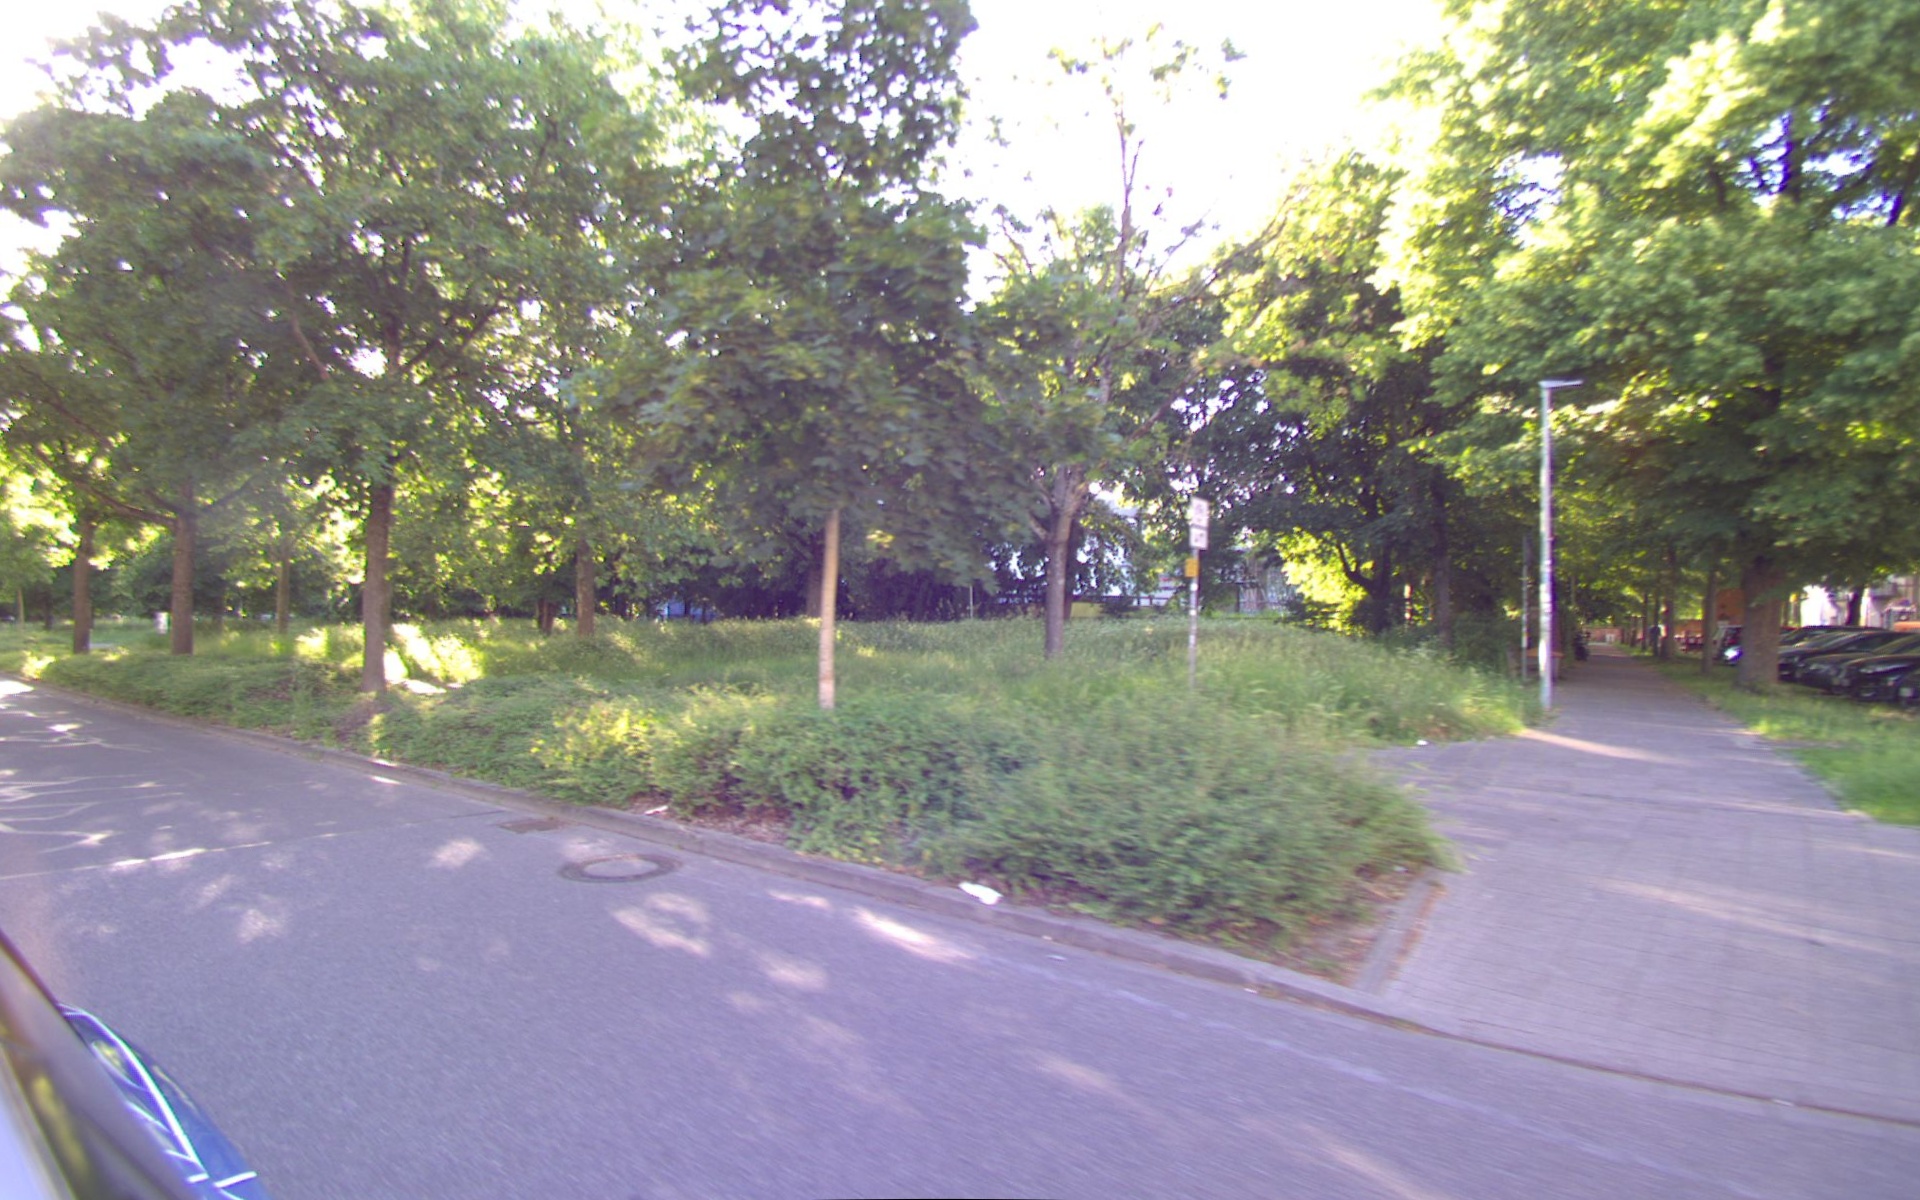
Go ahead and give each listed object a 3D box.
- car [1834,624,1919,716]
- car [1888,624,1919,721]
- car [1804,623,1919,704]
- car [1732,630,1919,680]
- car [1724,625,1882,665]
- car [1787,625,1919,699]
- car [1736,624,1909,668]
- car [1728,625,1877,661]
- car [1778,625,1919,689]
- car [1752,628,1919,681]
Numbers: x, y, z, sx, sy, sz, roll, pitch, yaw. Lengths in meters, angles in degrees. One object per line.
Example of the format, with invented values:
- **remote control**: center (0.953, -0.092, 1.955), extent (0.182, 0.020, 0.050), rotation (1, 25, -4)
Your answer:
- **car**: center (16.769, 1.129, 16.205), extent (3.868, 1.453, 1.957), rotation (-1, -2, 32)
- **car**: center (15.417, 1.017, 13.701), extent (3.868, 1.352, 1.957), rotation (0, -1, 32)
- **car**: center (17.935, 1.132, 18.275), extent (3.868, 1.388, 1.957), rotation (0, -1, 32)
- **car**: center (24.482, 1.512, 28.738), extent (3.868, 1.266, 1.766), rotation (0, -1, 32)
- **car**: center (28.433, 1.489, 34.291), extent (3.868, 1.266, 1.766), rotation (0, -1, 32)
- **car**: center (19.265, 1.226, 20.314), extent (3.868, 1.388, 1.957), rotation (0, -1, 32)
- **car**: center (26.929, 1.401, 31.788), extent (3.868, 1.266, 1.766), rotation (0, -1, 32)
- **car**: center (30.151, 1.515, 36.384), extent (3.868, 1.164, 1.766), rotation (0, -1, 32)
- **car**: center (21.825, 1.313, 23.716), extent (3.868, 1.388, 1.957), rotation (0, -1, 32)
- **car**: center (23.306, 1.403, 26.465), extent (3.868, 1.266, 1.766), rotation (0, -1, 32)
